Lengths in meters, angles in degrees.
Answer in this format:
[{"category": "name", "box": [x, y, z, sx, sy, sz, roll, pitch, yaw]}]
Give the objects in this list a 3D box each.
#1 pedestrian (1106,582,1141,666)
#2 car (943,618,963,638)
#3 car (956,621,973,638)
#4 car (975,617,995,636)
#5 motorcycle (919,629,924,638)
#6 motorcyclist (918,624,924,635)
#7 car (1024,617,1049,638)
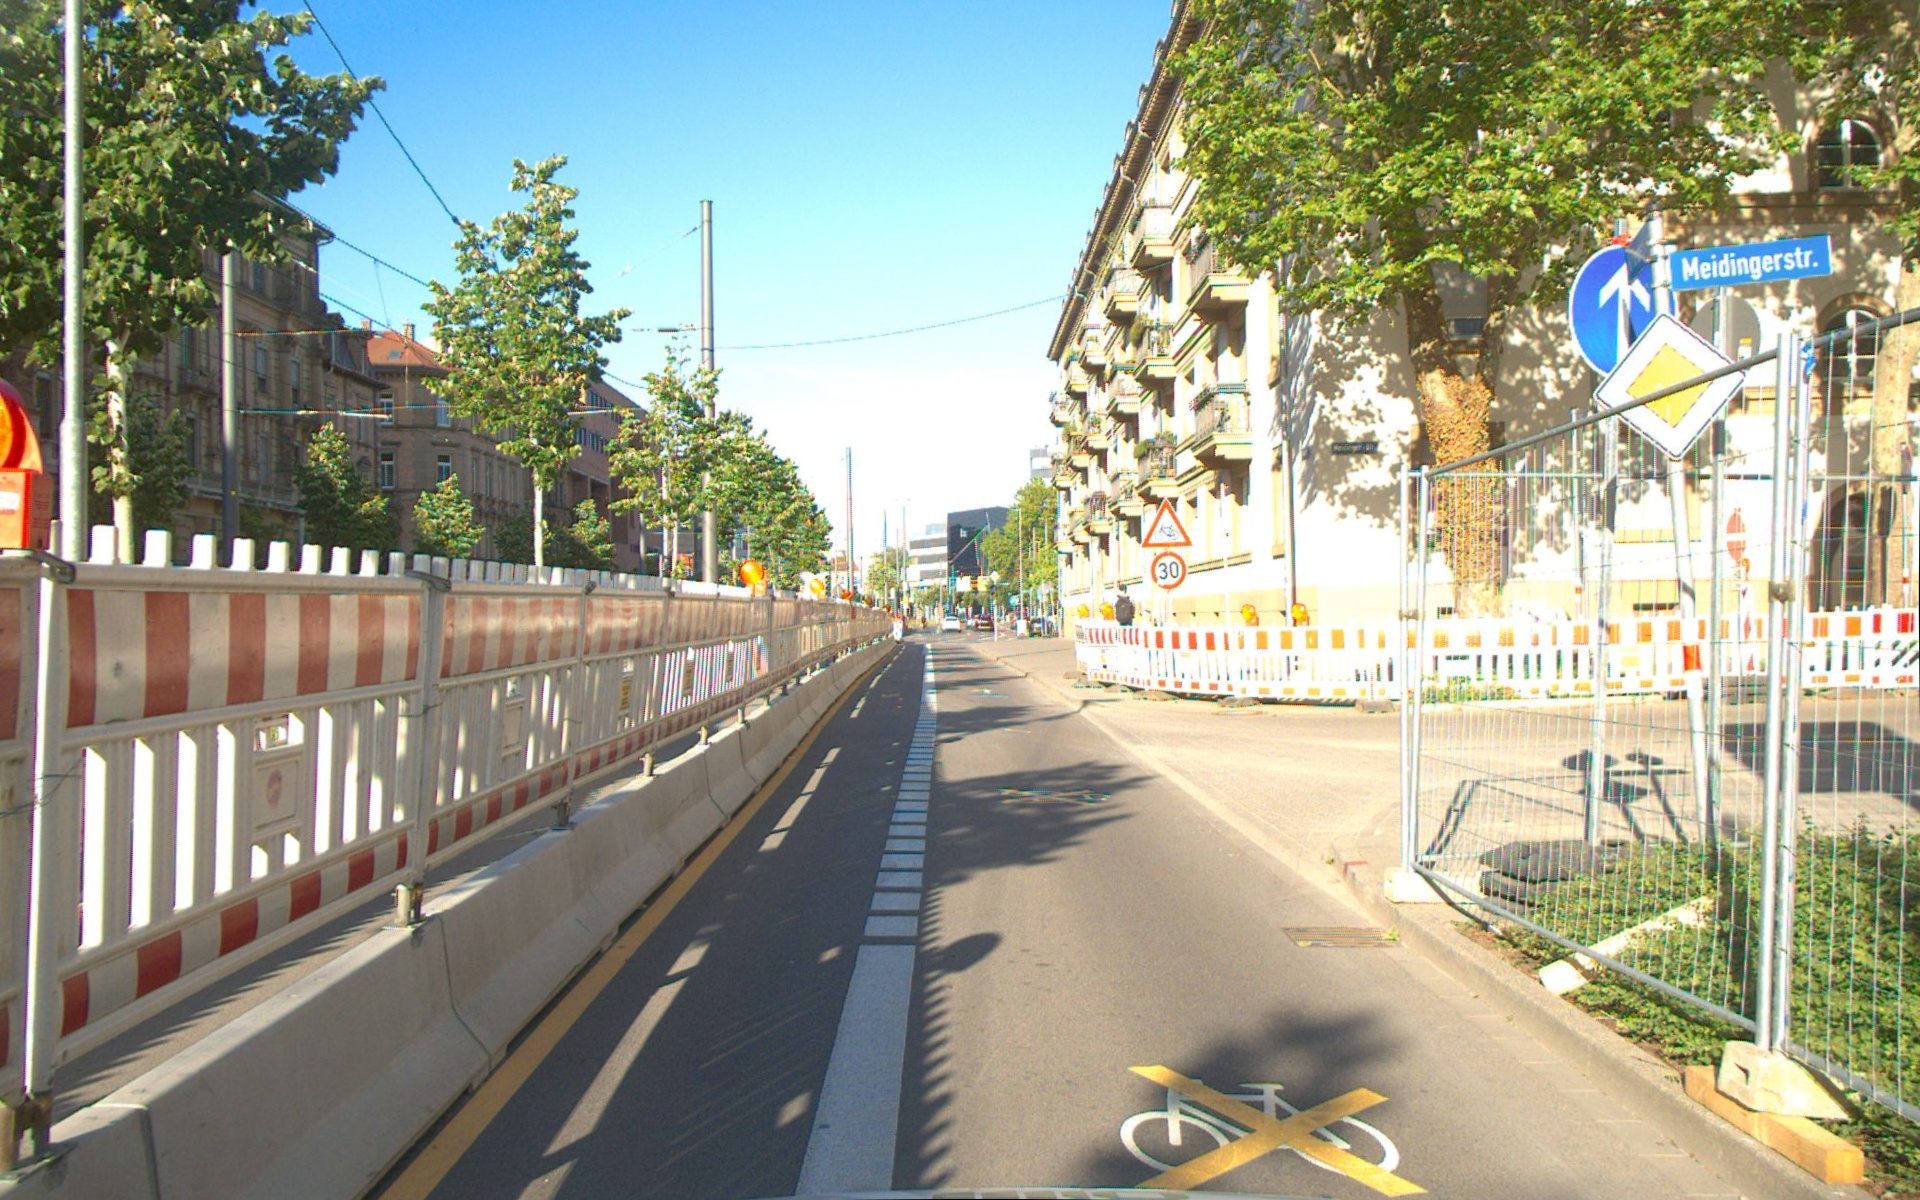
[{"category": "pedestrian", "box": [3.505, 0.517, 35.515, 0.655, 1.776, 0.778, -1, -1, 0]}, {"category": "car", "box": [-0.643, 2.668, 159.111, 1.845, 1.875, 3.667, -1, 0, -1]}, {"category": "car", "box": [0.471, 3.388, 190.460, 1.845, 1.875, 3.667, -1, 0, -1]}, {"category": "car", "box": [2.518, 2.663, 165.573, 1.845, 1.875, 3.667, -1, 0, -1]}, {"category": "motorcycle", "box": [-4.321, 3.765, 185.251, 0.618, 0.912, 1.620, -1, 0, -1]}, {"category": "motorcyclist", "box": [-4.332, 3.294, 185.331, 0.618, 1.285, 0.605, -1, -1, -1]}, {"category": "car", "box": [6.312, 2.251, 136.466, 1.844, 1.617, 3.667, -1, 0, 0]}]
